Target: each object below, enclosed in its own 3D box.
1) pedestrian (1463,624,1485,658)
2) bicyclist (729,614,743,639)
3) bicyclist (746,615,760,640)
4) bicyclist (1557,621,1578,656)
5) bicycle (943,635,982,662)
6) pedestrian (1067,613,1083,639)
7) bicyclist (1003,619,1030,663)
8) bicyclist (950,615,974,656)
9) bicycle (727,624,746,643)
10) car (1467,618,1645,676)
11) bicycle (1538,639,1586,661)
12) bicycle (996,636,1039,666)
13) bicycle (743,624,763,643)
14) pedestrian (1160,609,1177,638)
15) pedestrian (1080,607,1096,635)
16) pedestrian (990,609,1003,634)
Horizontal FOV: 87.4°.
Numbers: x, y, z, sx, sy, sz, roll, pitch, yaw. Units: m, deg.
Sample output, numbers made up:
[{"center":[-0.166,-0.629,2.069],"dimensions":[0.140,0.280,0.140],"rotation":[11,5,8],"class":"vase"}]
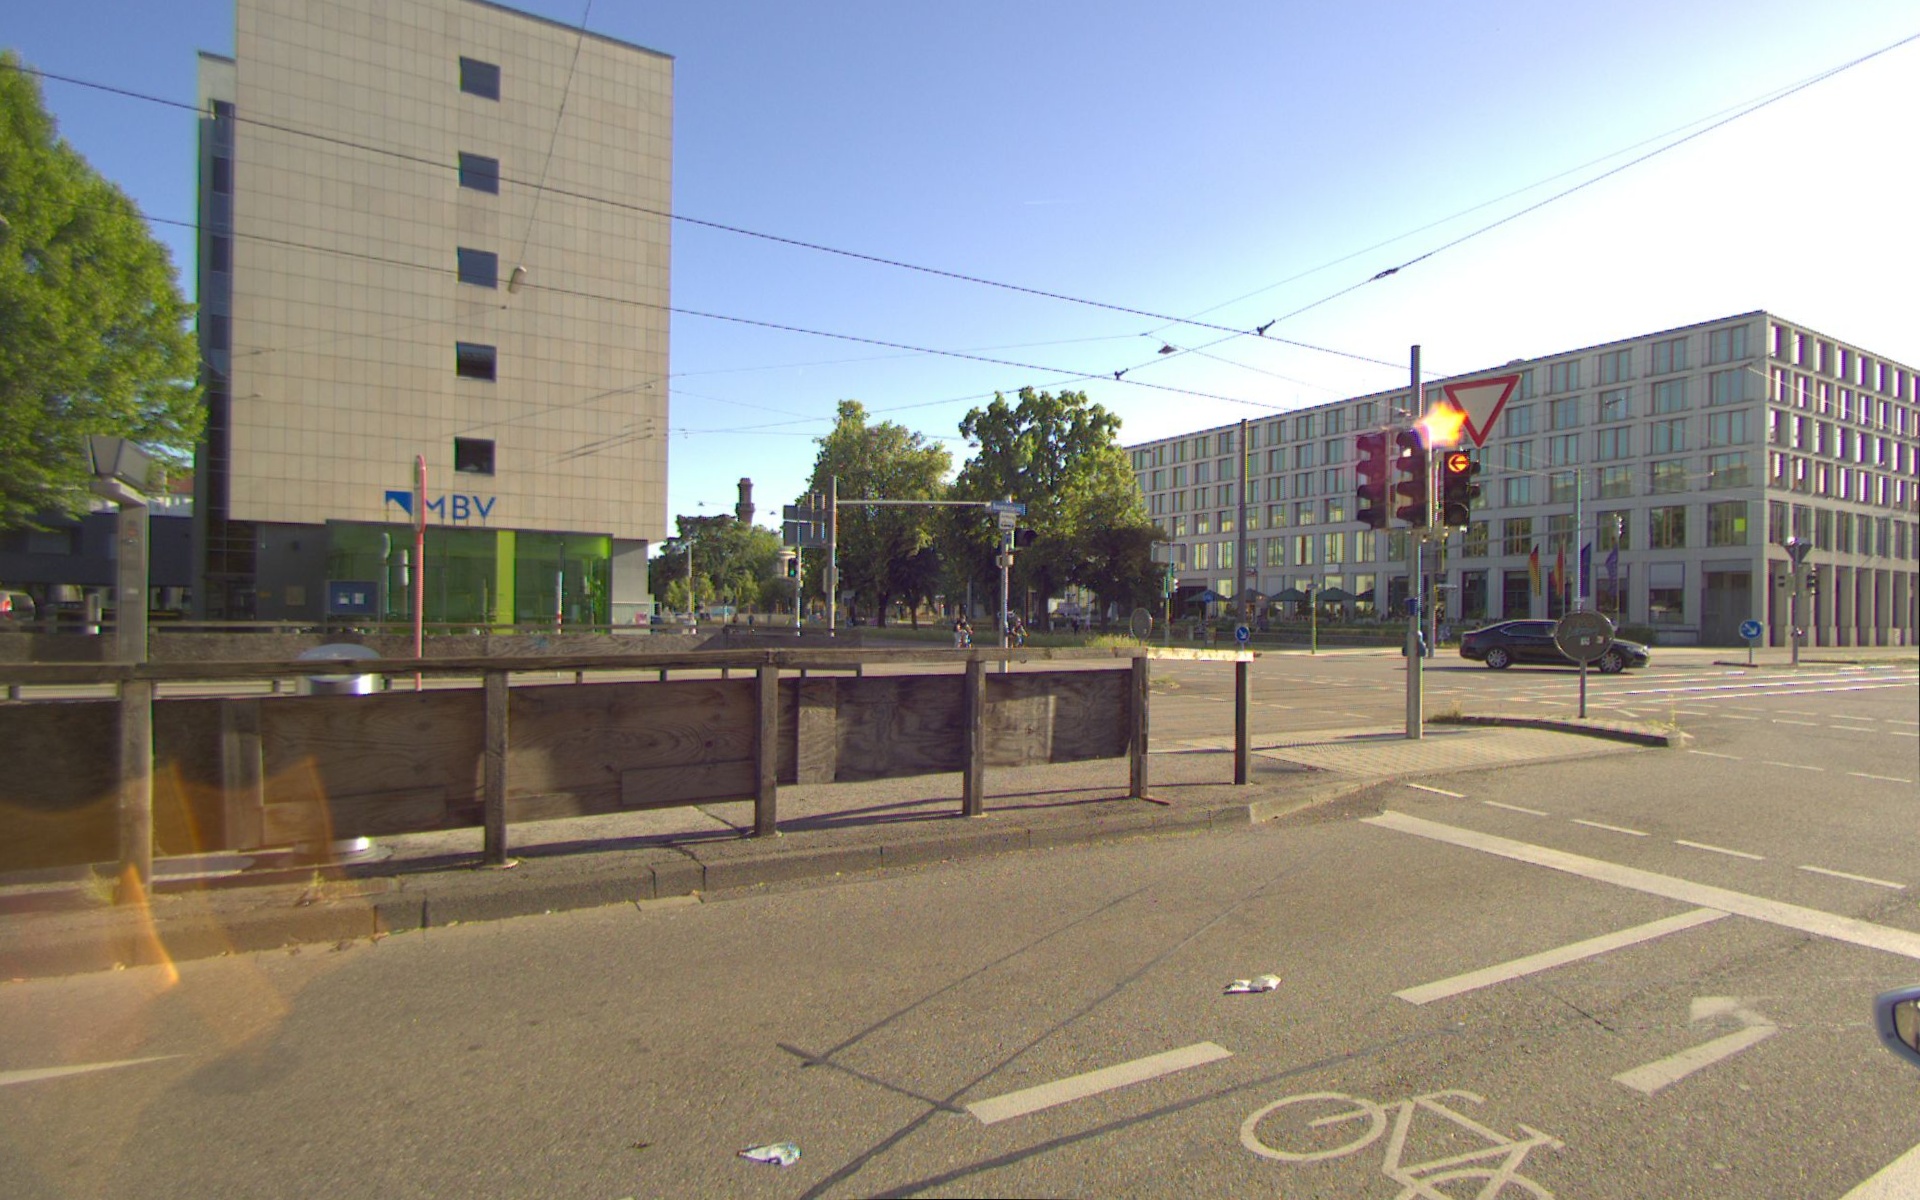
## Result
[{"center":[25.046,1.992,48.932],"dimensions":[0.586,1.610,0.769],"rotation":[1,-1,-39],"class":"pedestrian"},{"center":[-13.814,1.649,62.018],"dimensions":[0.647,1.544,0.615],"rotation":[1,-1,-32],"class":"bicyclist"},{"center":[-12.865,1.680,62.441],"dimensions":[0.602,1.544,0.709],"rotation":[1,-1,-32],"class":"bicyclist"},{"center":[28.043,1.770,46.375],"dimensions":[0.765,1.610,0.759],"rotation":[0,-1,36],"class":"bicyclist"},{"center":[0.077,1.825,38.156],"dimensions":[0.554,0.947,1.846],"rotation":[1,-1,-34],"class":"bicycle"},{"center":[8.547,1.909,74.657],"dimensions":[0.863,1.925,0.713],"rotation":[2,0,-26],"class":"pedestrian"},{"center":[1.934,1.407,34.469],"dimensions":[0.610,1.470,0.795],"rotation":[1,-1,-29],"class":"bicyclist"},{"center":[0.071,1.347,38.180],"dimensions":[0.600,1.544,0.758],"rotation":[1,-1,-34],"class":"bicyclist"},{"center":[-13.805,2.044,61.976],"dimensions":[0.574,1.148,1.776],"rotation":[1,-1,-31],"class":"bicycle"},{"center":[17.390,1.327,29.401],"dimensions":[4.359,1.474,1.660],"rotation":[1,0,35],"class":"car"},{"center":[27.876,2.288,46.498],"dimensions":[1.833,0.947,0.760],"rotation":[0,-1,37],"class":"bicycle"},{"center":[1.954,1.742,34.415],"dimensions":[0.638,0.947,1.736],"rotation":[1,-1,-28],"class":"bicycle"},{"center":[-12.870,2.078,62.420],"dimensions":[0.616,1.148,1.869],"rotation":[1,-1,-31],"class":"bicycle"},{"center":[13.819,1.550,66.570],"dimensions":[0.862,1.925,0.714],"rotation":[2,0,-22],"class":"pedestrian"},{"center":[9.547,1.547,75.112],"dimensions":[0.813,2.040,0.840],"rotation":[2,0,-24],"class":"pedestrian"},{"center":[3.051,1.773,83.919],"dimensions":[0.813,2.040,0.840],"rotation":[2,0,-25],"class":"pedestrian"}]
